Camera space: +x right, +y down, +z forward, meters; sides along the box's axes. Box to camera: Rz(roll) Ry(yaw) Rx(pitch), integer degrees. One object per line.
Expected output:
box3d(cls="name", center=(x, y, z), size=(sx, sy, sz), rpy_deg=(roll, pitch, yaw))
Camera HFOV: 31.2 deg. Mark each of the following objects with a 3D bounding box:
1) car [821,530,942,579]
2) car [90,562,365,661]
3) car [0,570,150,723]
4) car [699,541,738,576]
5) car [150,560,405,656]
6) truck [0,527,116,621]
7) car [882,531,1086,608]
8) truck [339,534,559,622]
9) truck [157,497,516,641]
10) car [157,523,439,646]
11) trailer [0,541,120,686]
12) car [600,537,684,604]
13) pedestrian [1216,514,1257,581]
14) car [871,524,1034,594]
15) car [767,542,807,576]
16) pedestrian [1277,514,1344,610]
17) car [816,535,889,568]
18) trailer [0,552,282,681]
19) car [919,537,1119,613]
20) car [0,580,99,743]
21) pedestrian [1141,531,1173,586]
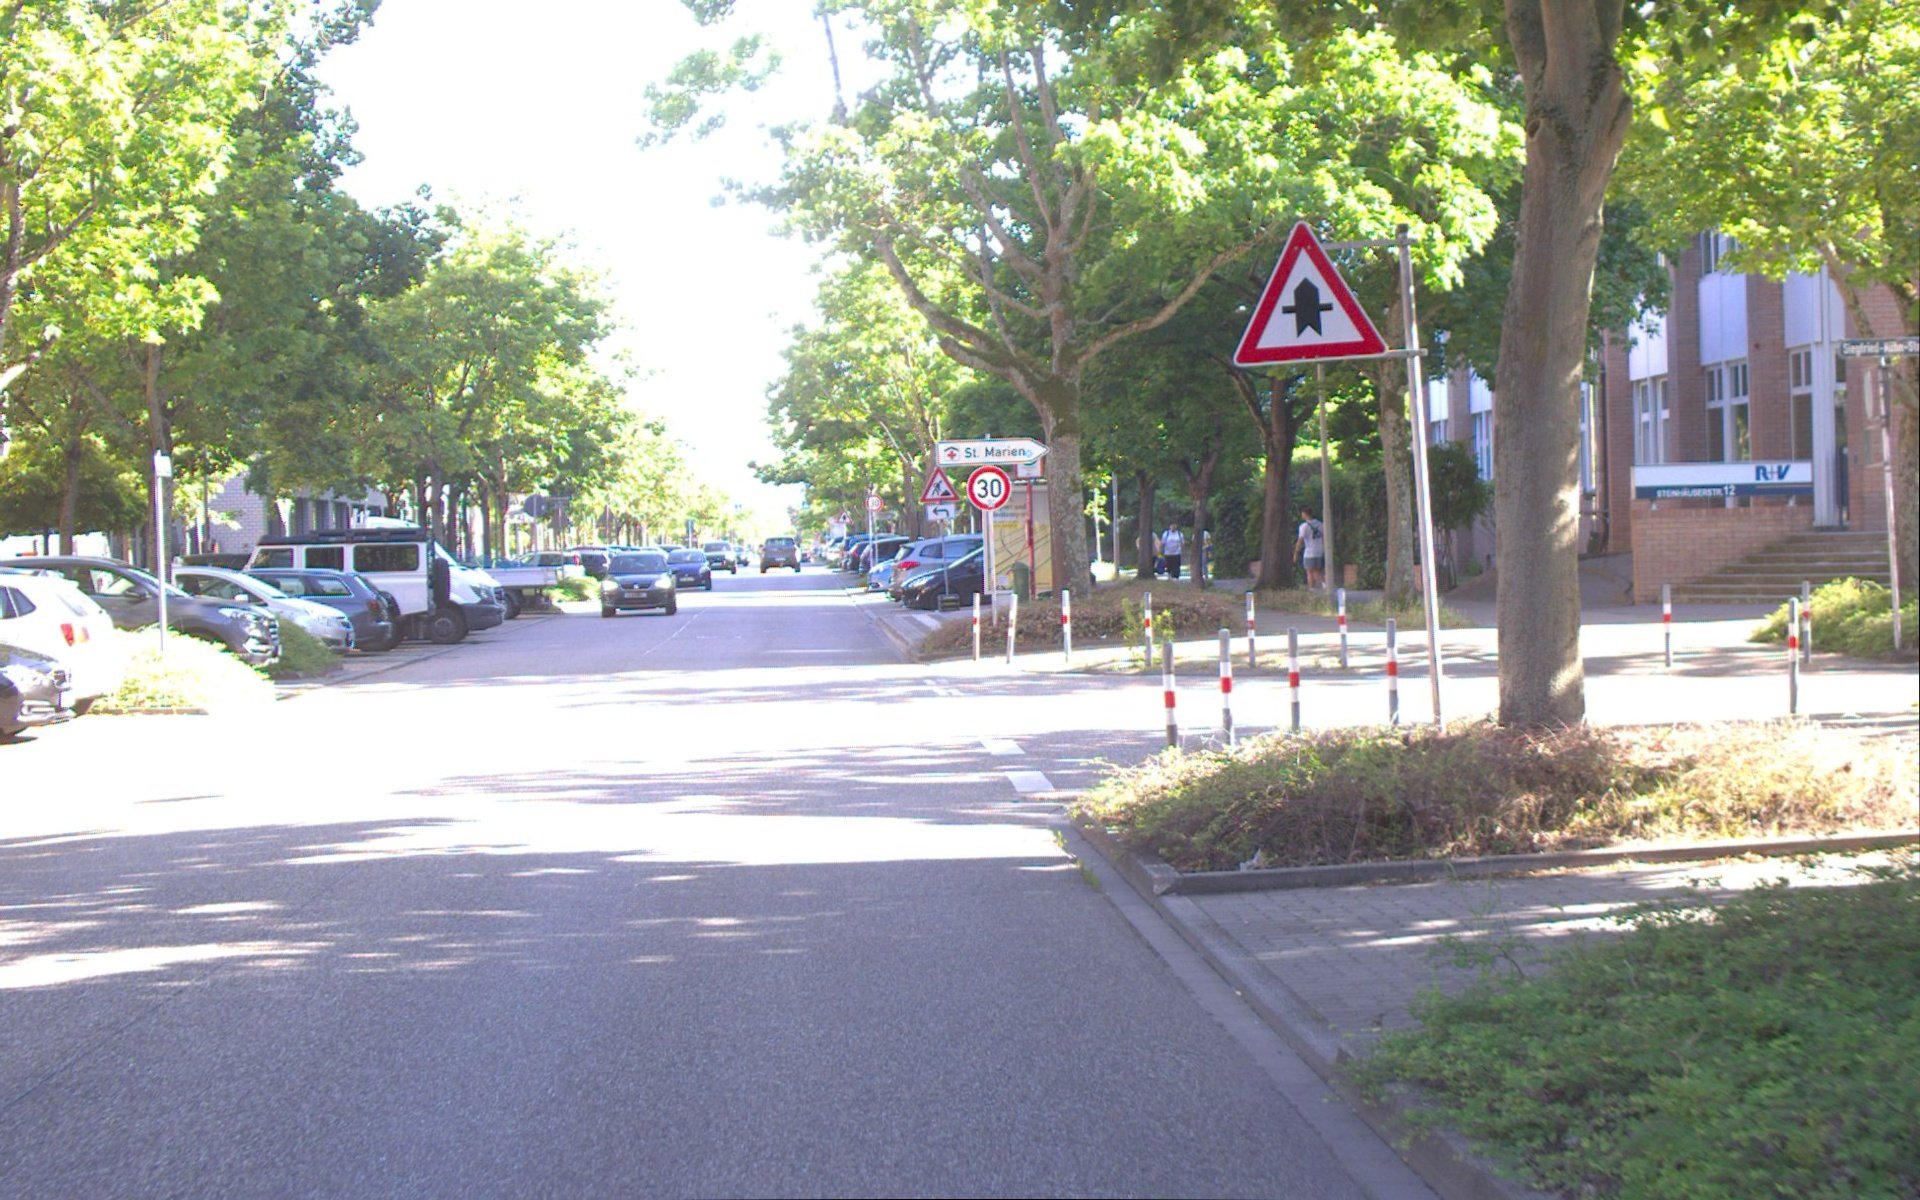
box3d(cls="car", center=(-2.916, -1.678, 126.848), size=(4.267, 1.628, 1.858), rpy_deg=(-3, 1, -5))
box3d(cls="car", center=(-11.224, 0.167, 52.820), size=(3.834, 1.456, 1.732), rpy_deg=(0, 1, 1))
box3d(cls="car", center=(-10.042, 0.438, 33.867), size=(3.754, 1.447, 1.754), rpy_deg=(0, 1, -3))
box3d(cls="car", center=(-12.234, -2.088, 173.932), size=(1.891, 1.678, 4.353), rpy_deg=(-2, 1, -5))
box3d(cls="car", center=(-10.993, 0.118, 55.577), size=(3.778, 1.487, 1.833), rpy_deg=(0, 1, -1))
box3d(cls="truck", center=(-28.890, -0.732, 103.986), size=(6.103, 2.695, 2.578), rpy_deg=(-2, 1, -4))
box3d(cls="car", center=(0.523, -0.705, 78.302), size=(4.351, 1.592, 1.940), rpy_deg=(-2, 1, -9))
box3d(cls="truck", center=(-12.290, -0.541, 82.937), size=(4.984, 1.952, 2.138), rpy_deg=(-2, 1, -2))
box3d(cls="truck", center=(-11.480, -0.584, 63.646), size=(6.231, 2.413, 2.187), rpy_deg=(-2, 1, -2))
box3d(cls="car", center=(-11.156, -0.273, 58.198), size=(4.481, 2.045, 2.000), rpy_deg=(0, 1, -4))
box3d(cls="trailer", center=(-11.543, 0.147, 40.860), size=(2.725, 1.681, 1.712), rpy_deg=(0, 1, -2))
box3d(cls="car", center=(-7.623, -0.726, 82.623), size=(1.779, 1.506, 4.001), rpy_deg=(-2, 1, -3))
box3d(cls="pedestrian", center=(7.299, -1.386, 90.788), size=(0.695, 1.705, 0.921), rpy_deg=(-5, 2, -14))
box3d(cls="car", center=(-0.228, -1.176, 96.991), size=(4.405, 1.612, 1.912), rpy_deg=(-5, 1, -3))
box3d(cls="car", center=(-8.643, -2.077, 171.734), size=(1.933, 1.592, 4.367), rpy_deg=(-2, 1, -3))
box3d(cls="pedestrian", center=(6.544, -0.714, 64.215), size=(0.917, 1.705, 0.698), rpy_deg=(-5, 2, -16))
box3d(cls="car", center=(-6.184, -2.797, 198.296), size=(3.986, 1.786, 2.000), rpy_deg=(-2, 1, -7))
box3d(cls="trailer", center=(-10.776, 0.187, 43.247), size=(4.259, 1.566, 1.857), rpy_deg=(0, 1, -6))
box3d(cls="car", center=(1.191, -0.527, 70.988), size=(3.934, 1.434, 1.775), rpy_deg=(-2, 1, -5))
box3d(cls="car", center=(-9.985, 0.529, 30.777), size=(4.151, 1.398, 1.801), rpy_deg=(0, 1, -3))
box3d(cls="pedestrian", center=(5.301, -1.110, 92.358), size=(0.700, 1.453, 0.716), rpy_deg=(-2, 1, -5))
